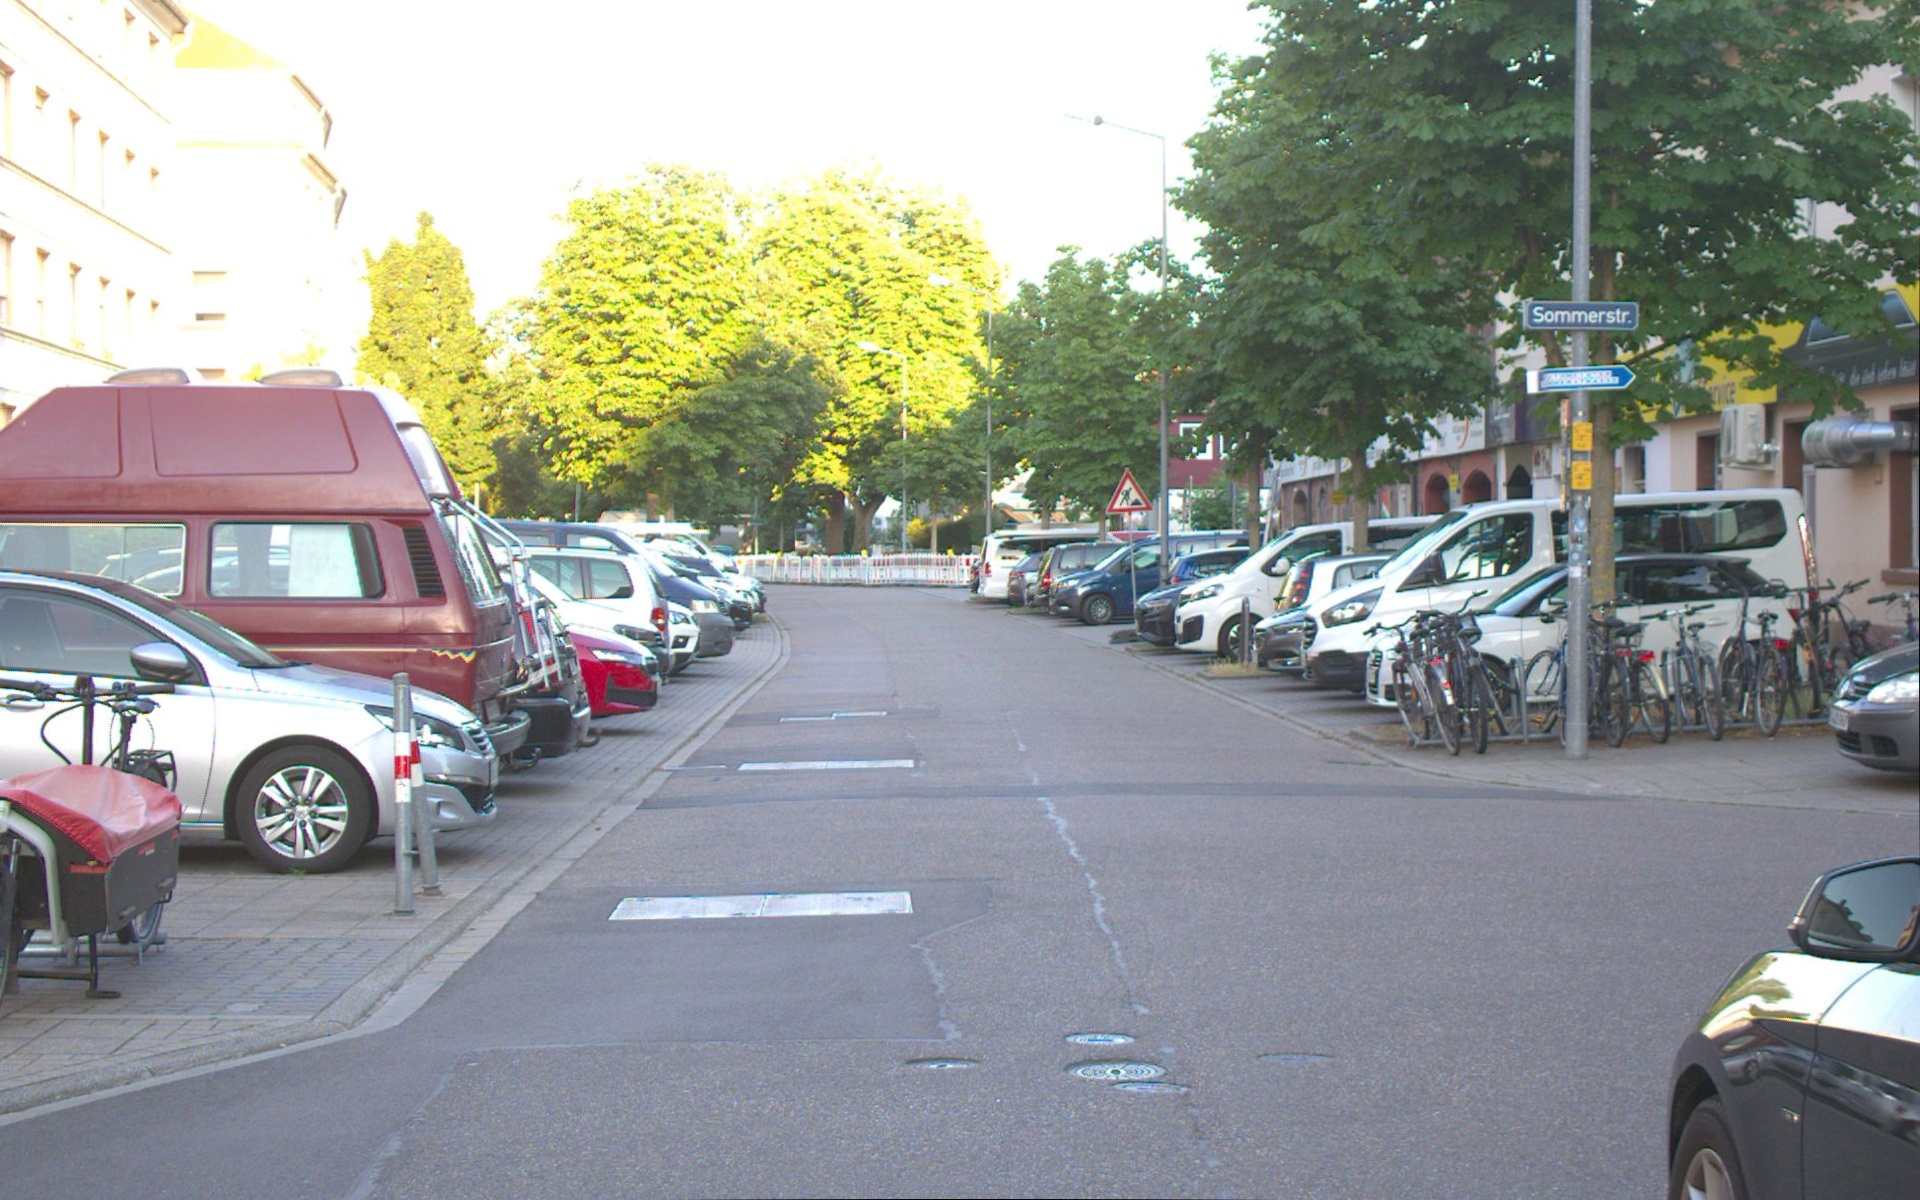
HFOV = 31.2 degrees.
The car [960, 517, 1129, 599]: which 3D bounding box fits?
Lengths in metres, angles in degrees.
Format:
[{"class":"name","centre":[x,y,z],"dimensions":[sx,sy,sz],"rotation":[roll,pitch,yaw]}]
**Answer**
[{"class":"car","centre":[2.097,-1.056,86.475],"dimensions":[3.967,1.905,2.050],"rotation":[-2,1,-5]}]

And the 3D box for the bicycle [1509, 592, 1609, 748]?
[{"class":"bicycle","centre":[4.585,0.512,26.398],"dimensions":[0.386,1.110,2.017],"rotation":[-1,1,0]}]

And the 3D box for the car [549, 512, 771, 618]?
[{"class":"car","centre":[-6.360,-0.749,73.224],"dimensions":[4.533,2.127,2.000],"rotation":[1,1,0]}]

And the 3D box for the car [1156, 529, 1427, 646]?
[{"class":"car","centre":[5.589,-0.227,58.318],"dimensions":[4.316,1.798,1.811],"rotation":[-2,1,-2]}]

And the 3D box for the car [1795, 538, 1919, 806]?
[{"class":"car","centre":[7.389,0.369,21.167],"dimensions":[4.050,1.509,1.756],"rotation":[-1,3,1]}]

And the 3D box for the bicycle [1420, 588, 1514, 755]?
[{"class":"bicycle","centre":[3.875,0.522,26.365],"dimensions":[0.386,1.196,2.017],"rotation":[-1,1,0]}]

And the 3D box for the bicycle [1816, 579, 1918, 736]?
[{"class":"bicycle","centre":[6.922,0.421,26.277],"dimensions":[0.353,1.139,1.481],"rotation":[-1,1,0]}]

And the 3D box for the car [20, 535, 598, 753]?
[{"class":"car","centre":[-5.053,0.318,27.145],"dimensions":[4.208,1.570,2.000],"rotation":[1,1,-2]}]

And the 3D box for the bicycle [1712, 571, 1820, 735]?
[{"class":"bicycle","centre":[6.131,0.387,26.204],"dimensions":[0.445,1.196,1.481],"rotation":[-1,1,0]}]

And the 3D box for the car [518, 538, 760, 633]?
[{"class":"car","centre":[-5.848,-0.282,63.080],"dimensions":[4.256,1.616,2.000],"rotation":[1,1,-1]}]

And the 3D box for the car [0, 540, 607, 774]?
[{"class":"car","centre":[-4.822,0.376,24.886],"dimensions":[4.210,1.533,1.841],"rotation":[1,1,5]}]

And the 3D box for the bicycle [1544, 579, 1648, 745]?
[{"class":"bicycle","centre":[4.870,0.451,26.384],"dimensions":[0.386,1.196,2.017],"rotation":[-1,1,0]}]

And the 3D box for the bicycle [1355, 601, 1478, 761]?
[{"class":"bicycle","centre":[3.460,0.592,26.179],"dimensions":[0.438,1.126,2.018],"rotation":[-1,1,-6]}]

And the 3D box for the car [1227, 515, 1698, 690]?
[{"class":"car","centre":[5.580,0.011,38.649],"dimensions":[4.944,1.736,2.049],"rotation":[-2,1,0]}]

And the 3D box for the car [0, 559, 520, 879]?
[{"class":"car","centre":[-4.592,0.537,17.174],"dimensions":[4.615,1.455,1.881],"rotation":[1,1,-4]}]

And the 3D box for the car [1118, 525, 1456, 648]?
[{"class":"car","centre":[5.029,-0.221,53.410],"dimensions":[4.943,1.683,2.077],"rotation":[-2,1,-2]}]

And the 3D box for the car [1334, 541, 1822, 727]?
[{"class":"car","centre":[5.432,0.275,30.521],"dimensions":[3.918,1.446,1.768],"rotation":[-2,1,-3]}]

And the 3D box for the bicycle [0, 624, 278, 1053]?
[{"class":"bicycle","centre":[-3.073,0.735,11.882],"dimensions":[0.808,1.217,2.865],"rotation":[1,1,1]}]

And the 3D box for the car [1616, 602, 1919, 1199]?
[{"class":"car","centre":[2.088,0.766,4.101],"dimensions":[1.721,1.419,4.253],"rotation":[1,1,-1]}]

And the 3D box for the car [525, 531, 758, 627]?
[{"class":"car","centre":[-6.055,-0.415,65.820],"dimensions":[4.256,1.709,2.000],"rotation":[1,1,0]}]

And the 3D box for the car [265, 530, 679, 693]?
[{"class":"car","centre":[-5.309,0.103,37.818],"dimensions":[4.256,1.654,2.000],"rotation":[1,1,0]}]

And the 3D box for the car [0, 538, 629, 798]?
[{"class":"car","centre":[-4.325,0.410,22.320],"dimensions":[4.208,1.533,1.791],"rotation":[1,1,-2]}]

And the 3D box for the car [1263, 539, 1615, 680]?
[{"class":"car","centre":[5.702,0.095,41.284],"dimensions":[3.912,1.521,1.939],"rotation":[-2,1,0]}]

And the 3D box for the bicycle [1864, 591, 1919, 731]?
[{"class":"bicycle","centre":[7.327,0.453,26.324],"dimensions":[0.387,1.013,1.481],"rotation":[-1,1,0]}]

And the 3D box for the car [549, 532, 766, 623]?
[{"class":"car","centre":[-6.178,-0.470,70.591],"dimensions":[4.256,1.743,2.000],"rotation":[1,1,0]}]

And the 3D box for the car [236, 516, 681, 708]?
[{"class":"car","centre":[-5.091,0.107,35.345],"dimensions":[4.256,1.830,2.000],"rotation":[1,1,0]}]

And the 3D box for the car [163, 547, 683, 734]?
[{"class":"car","centre":[-4.605,0.324,29.928],"dimensions":[4.209,1.484,1.850],"rotation":[1,1,0]}]

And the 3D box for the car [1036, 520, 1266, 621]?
[{"class":"car","centre":[3.922,-0.612,71.005],"dimensions":[4.478,1.905,1.688],"rotation":[-2,1,-5]}]

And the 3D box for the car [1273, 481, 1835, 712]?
[{"class":"car","centre":[5.664,-0.049,33.303],"dimensions":[4.990,1.976,2.220],"rotation":[-2,1,0]}]

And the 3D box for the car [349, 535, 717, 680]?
[{"class":"car","centre":[-5.187,0.071,42.174],"dimensions":[4.256,1.646,1.888],"rotation":[1,1,0]}]

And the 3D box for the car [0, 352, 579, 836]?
[{"class":"car","centre":[-4.591,-0.068,19.743],"dimensions":[4.511,2.575,2.000],"rotation":[1,1,1]}]

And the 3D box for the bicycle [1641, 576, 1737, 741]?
[{"class":"bicycle","centre":[5.554,0.431,26.237],"dimensions":[0.386,1.196,1.481],"rotation":[-1,1,0]}]

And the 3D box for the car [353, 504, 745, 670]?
[{"class":"car","centre":[-5.295,-0.183,44.725],"dimensions":[4.850,2.014,1.906],"rotation":[1,1,0]}]

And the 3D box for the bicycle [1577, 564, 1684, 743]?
[{"class":"bicycle","centre":[5.130,0.383,26.392],"dimensions":[0.386,1.300,2.017],"rotation":[-1,1,0]}]

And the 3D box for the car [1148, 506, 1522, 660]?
[{"class":"car","centre":[5.243,-0.256,48.563],"dimensions":[4.943,1.951,2.049],"rotation":[-2,1,-2]}]

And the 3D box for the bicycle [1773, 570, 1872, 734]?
[{"class":"bicycle","centre":[6.561,0.378,26.195],"dimensions":[0.353,1.196,1.481],"rotation":[-1,1,0]}]
